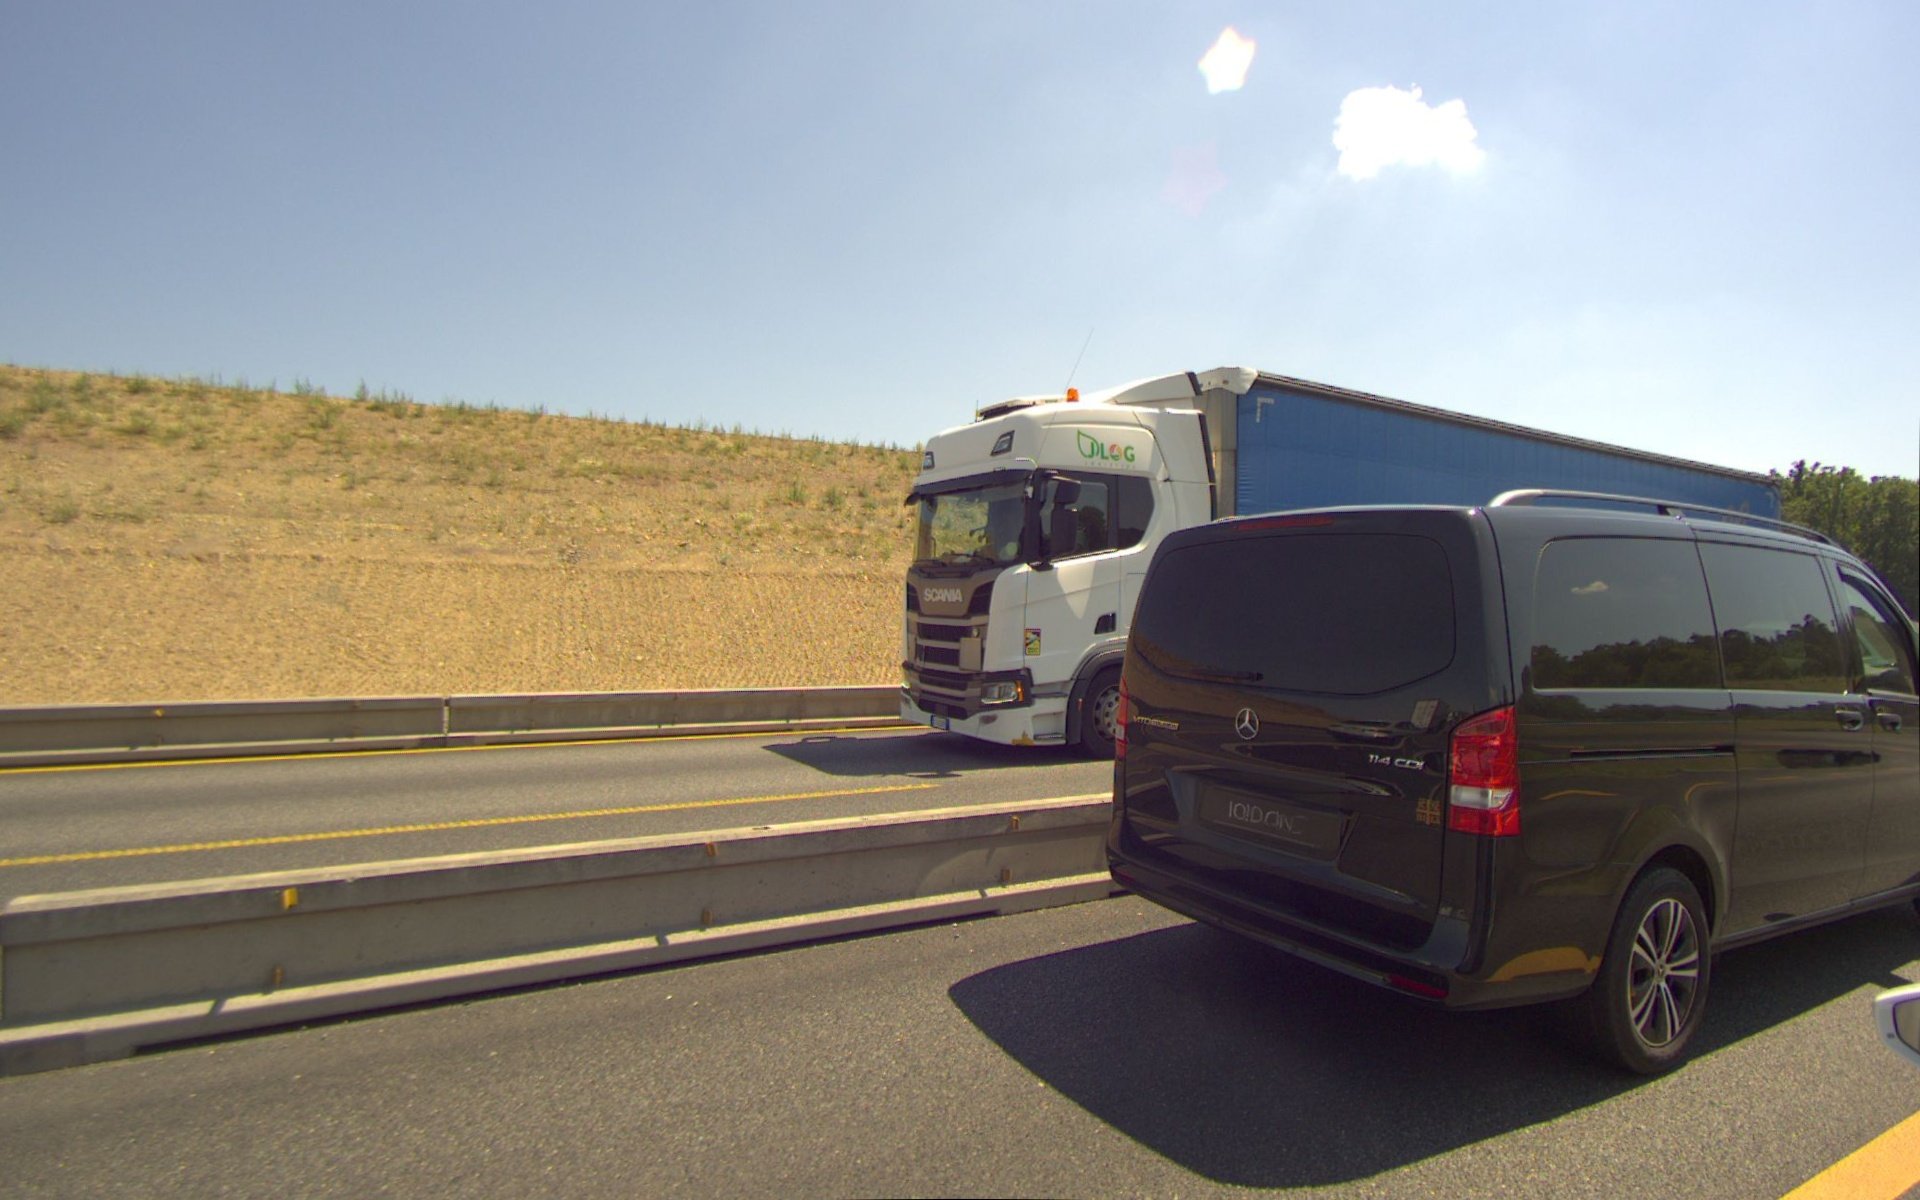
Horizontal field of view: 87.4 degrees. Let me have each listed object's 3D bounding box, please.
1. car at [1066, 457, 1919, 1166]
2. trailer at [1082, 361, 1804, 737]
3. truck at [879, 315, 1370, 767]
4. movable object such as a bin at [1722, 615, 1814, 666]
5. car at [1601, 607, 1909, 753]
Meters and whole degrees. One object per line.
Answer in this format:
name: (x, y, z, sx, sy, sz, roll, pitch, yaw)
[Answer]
car: (3.264, 0.615, 4.844, 5.414, 1.876, 1.865, 2, 0, -30)
trailer: (8.226, -0.386, 15.336, 13.832, 3.991, 2.640, 2, 0, -31)
truck: (1.947, -0.497, 11.587, 5.091, 4.108, 2.578, 1, 0, -31)
movable object such as a bin: (52.078, 2.595, 64.695, 7.078, 3.150, 2.159, 1, -2, -30)
car: (10.127, 0.936, 12.739, 4.092, 1.575, 1.766, 1, -2, -31)
